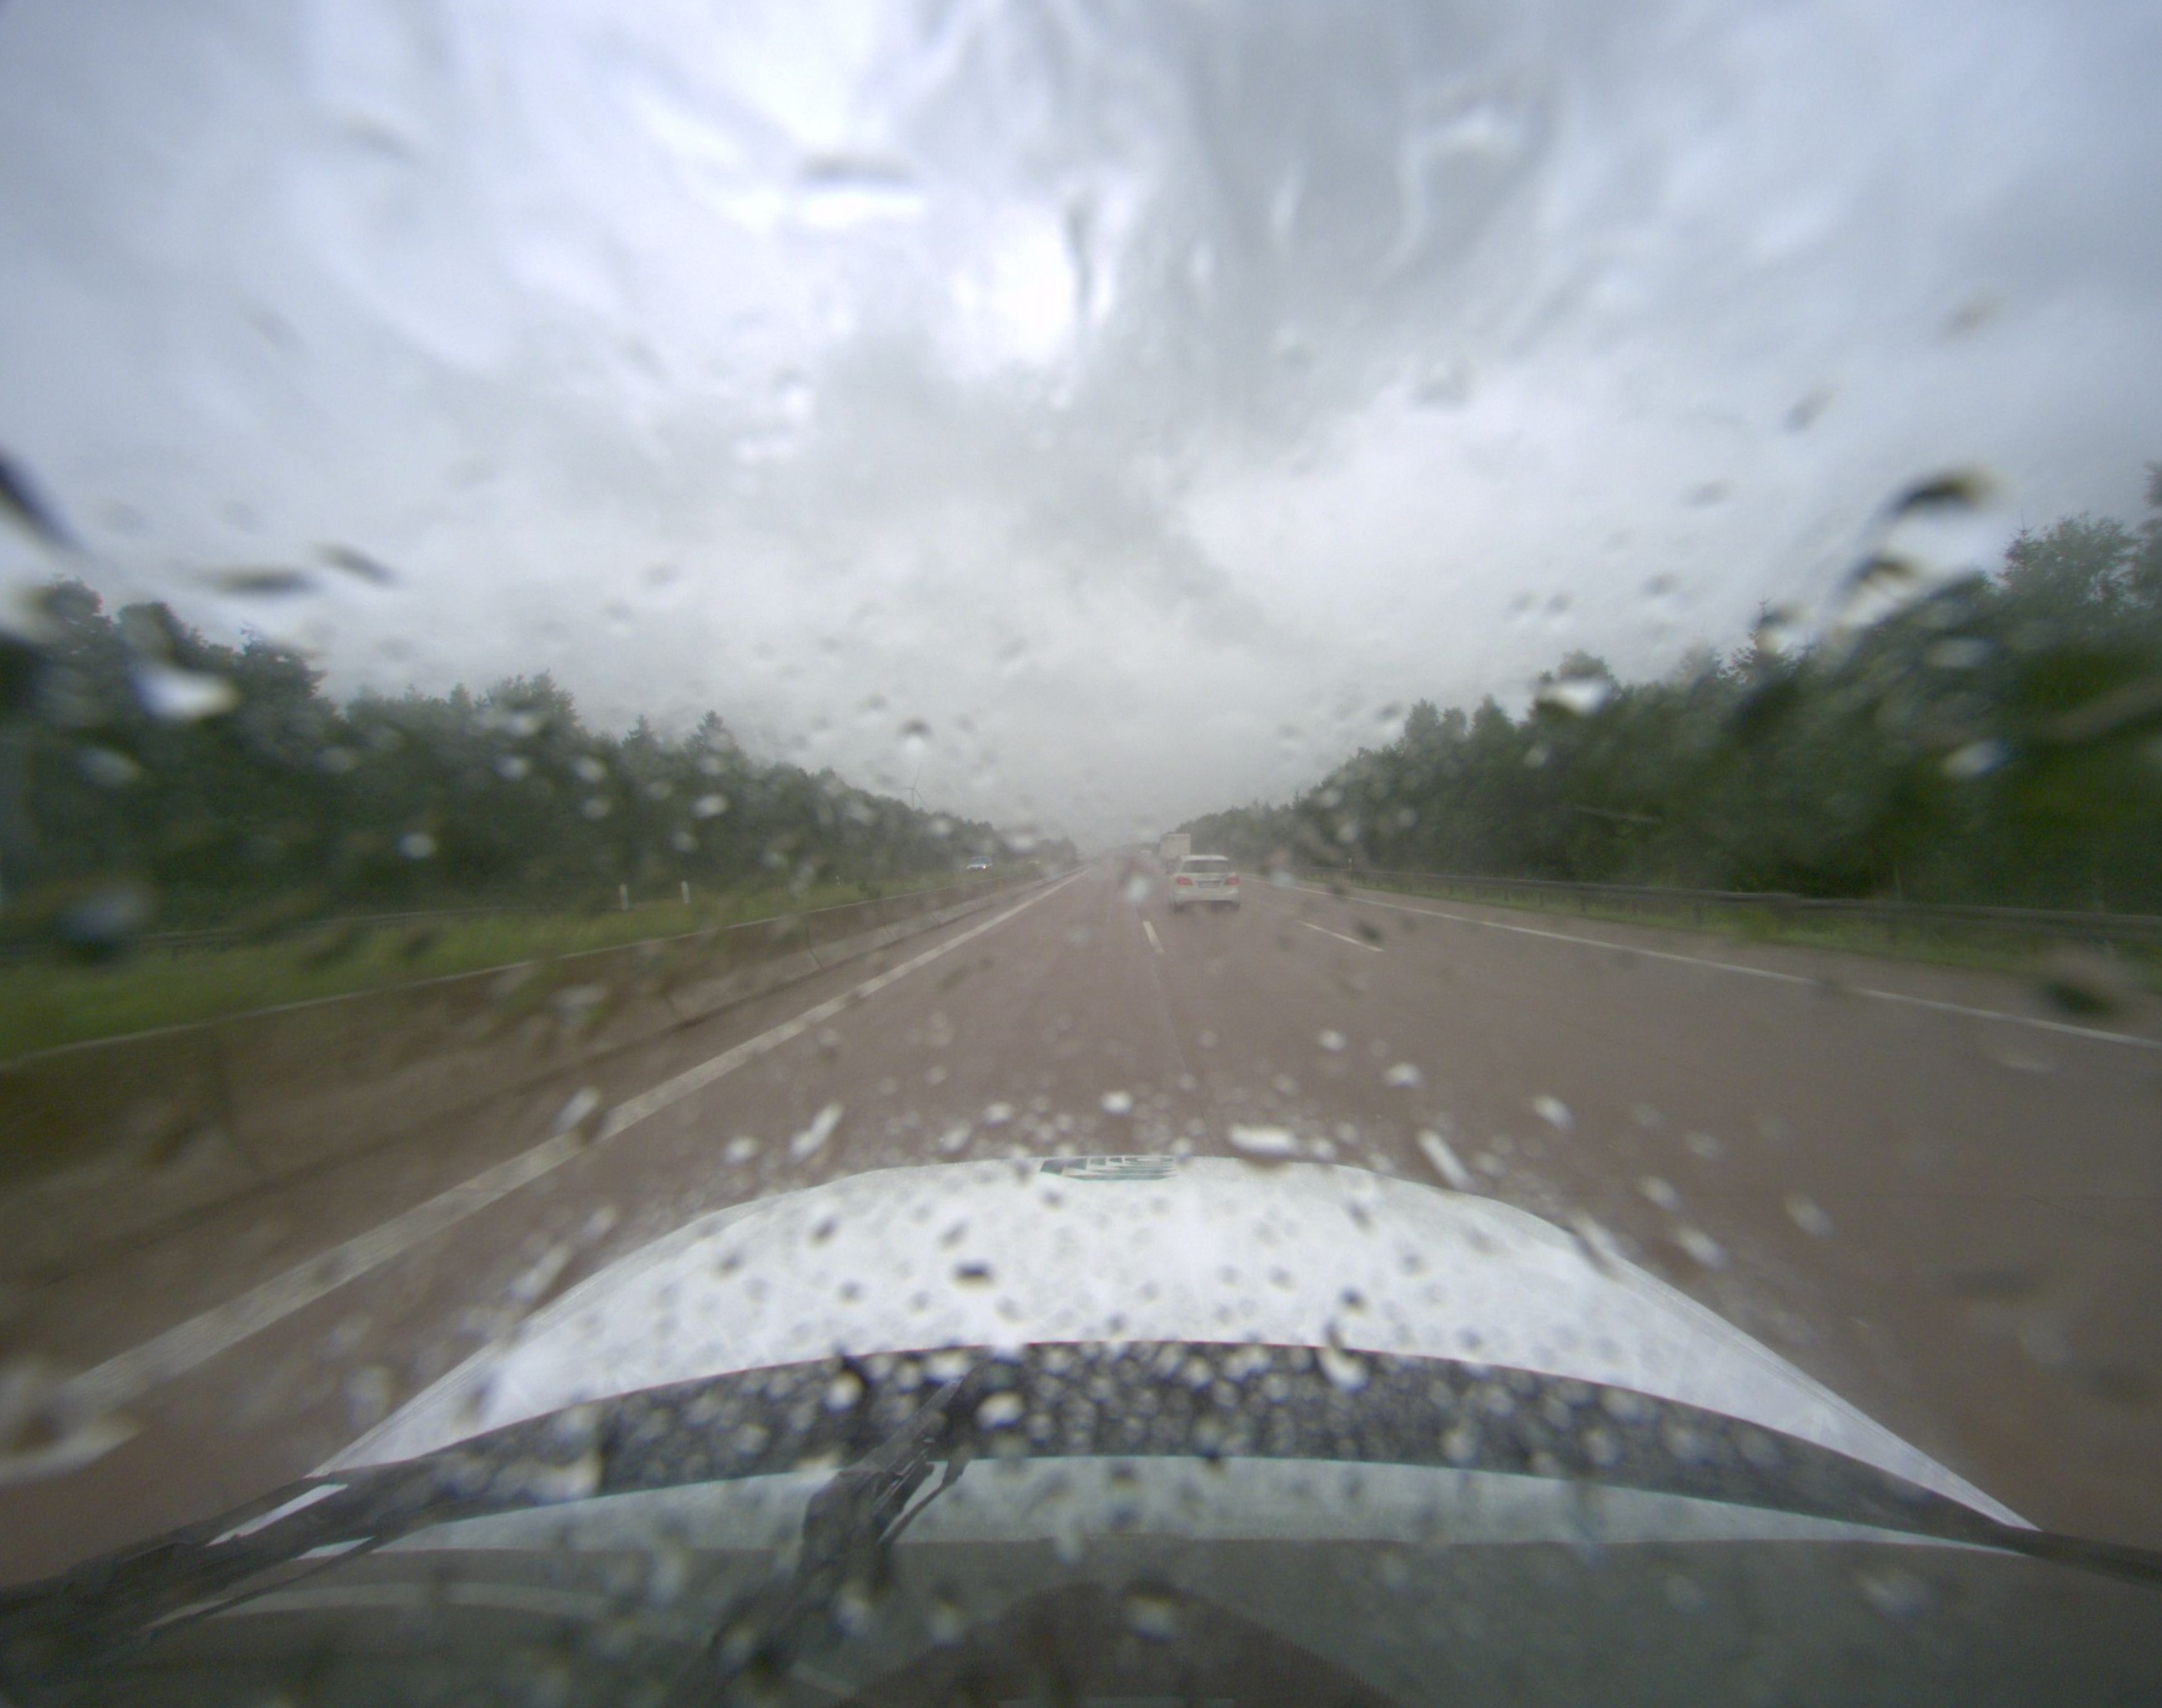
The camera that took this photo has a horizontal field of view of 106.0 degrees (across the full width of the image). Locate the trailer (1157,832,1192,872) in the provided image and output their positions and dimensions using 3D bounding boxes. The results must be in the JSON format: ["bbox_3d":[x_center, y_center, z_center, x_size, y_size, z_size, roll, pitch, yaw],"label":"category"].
[{"bbox_3d":[10.814,-0.267,95.334,2.842,4.231,13.136,-3,0,2],"label":"trailer"}]

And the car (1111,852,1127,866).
[{"bbox_3d":[5.338,0.720,113.945,2.165,1.981,4.133,0,0,3],"label":"car"}]

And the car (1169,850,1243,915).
[{"bbox_3d":[3.573,0.765,24.015,1.800,1.728,4.749,-1,0,5],"label":"car"}]

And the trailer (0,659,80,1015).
[{"bbox_3d":[-17.119,-0.245,5.388,3.740,4.953,13.687,0,0,2],"label":"trailer"}]

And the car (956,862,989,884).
[{"bbox_3d":[-10.435,1.765,78.812,2.298,2.013,5.663,-1,0,1],"label":"car"}]
